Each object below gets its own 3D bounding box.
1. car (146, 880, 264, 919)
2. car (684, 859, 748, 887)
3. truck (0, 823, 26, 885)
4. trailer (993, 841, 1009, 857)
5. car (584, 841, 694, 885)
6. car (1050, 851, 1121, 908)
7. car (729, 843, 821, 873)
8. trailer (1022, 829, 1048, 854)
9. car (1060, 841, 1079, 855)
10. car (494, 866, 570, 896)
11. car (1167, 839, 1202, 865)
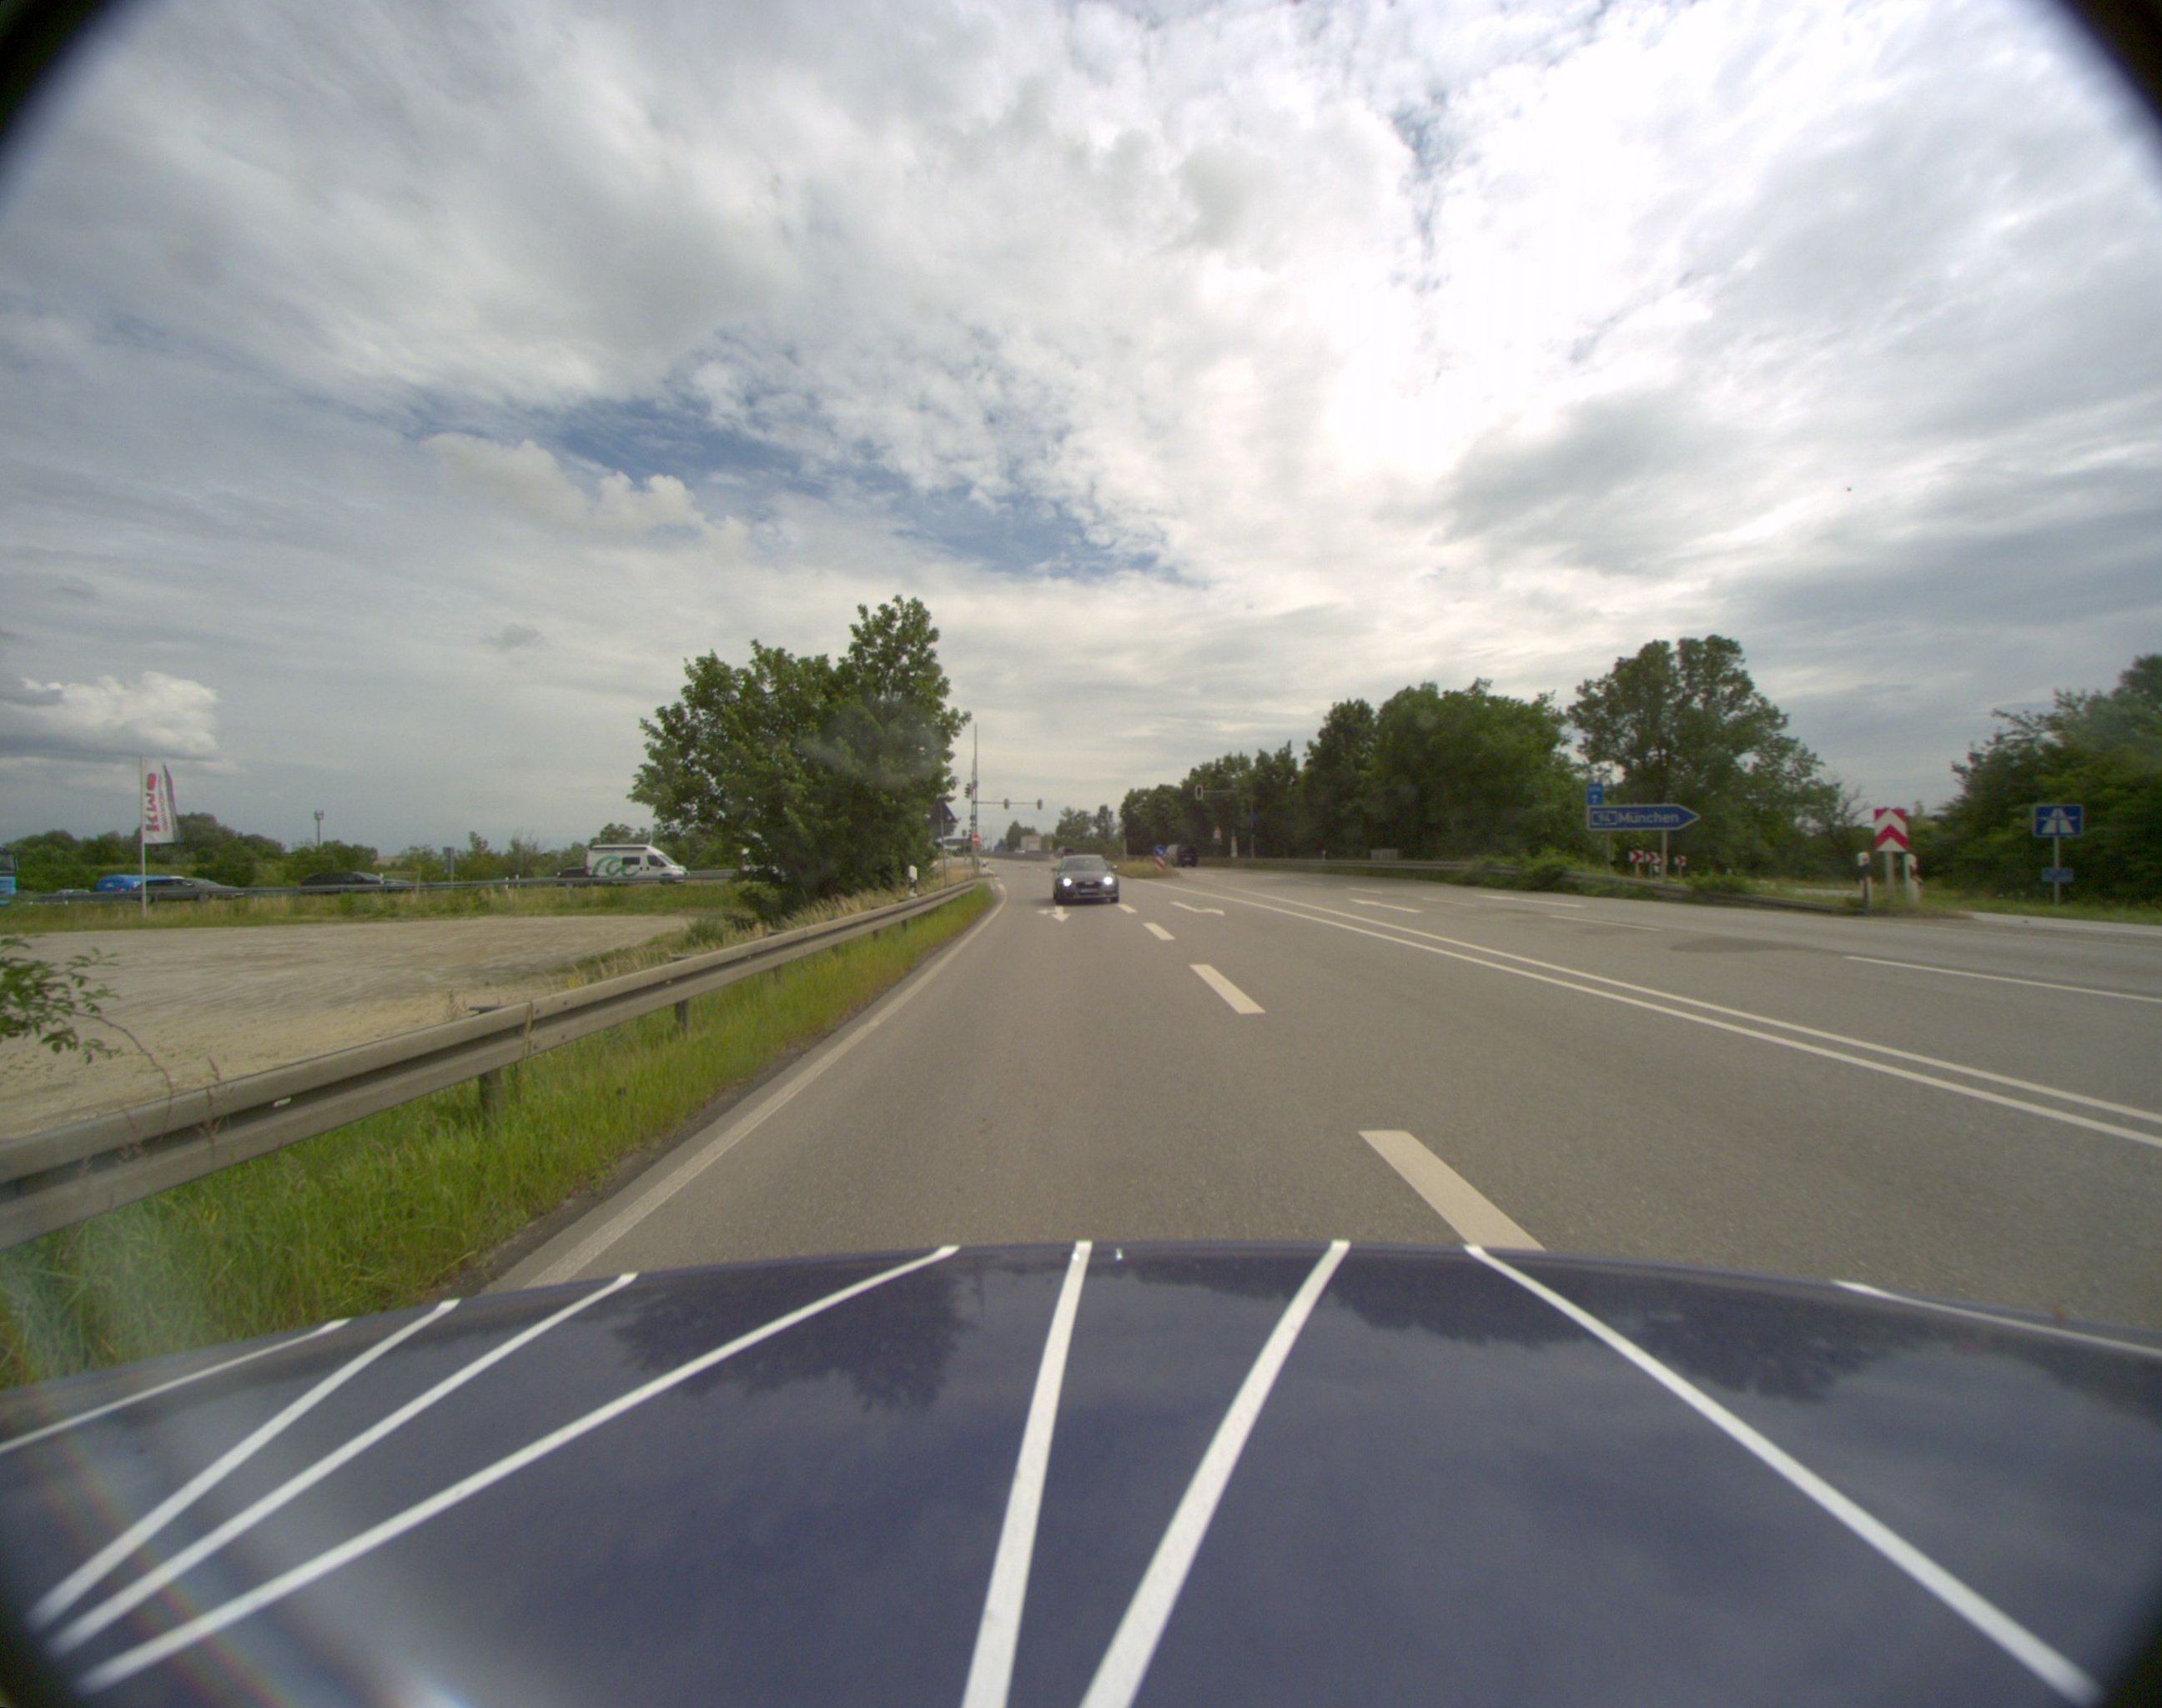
[{"bbox_3d":[-49.187,2.546,42.756,4.001,2.001,1.930,-1,0,-10],"label":"car"},{"bbox_3d":[-28.195,1.466,58.822,4.000,2.002,1.930,-2,0,-10],"label":"car"},{"bbox_3d":[-60.859,0.123,40.533,5.592,3.285,2.392,-3,0,0],"label":"truck"},{"bbox_3d":[-24.014,-1.455,227.565,3.141,4.605,8.816,-3,1,-14],"label":"trailer"},{"bbox_3d":[-27.394,0.551,47.290,5.422,2.552,2.456,-1,0,-15],"label":"car"},{"bbox_3d":[0.152,0.714,23.691,1.957,1.527,3.999,-2,1,1],"label":"car"},{"bbox_3d":[-22.366,0.292,55.811,5.898,2.002,2.059,-2,0,-10],"label":"car"},{"bbox_3d":[-8.852,-2.249,144.195,3.497,4.488,10.934,-2,1,-10],"label":"trailer"},{"bbox_3d":[-1.708,-0.881,115.450,2.001,2.002,3.995,-2,1,-13],"label":"car"},{"bbox_3d":[-40.434,1.948,56.032,4.000,2.002,1.930,-2,0,-10],"label":"car"},{"bbox_3d":[8.547,-0.161,63.089,1.999,2.002,3.998,-2,1,-4],"label":"car"}]
